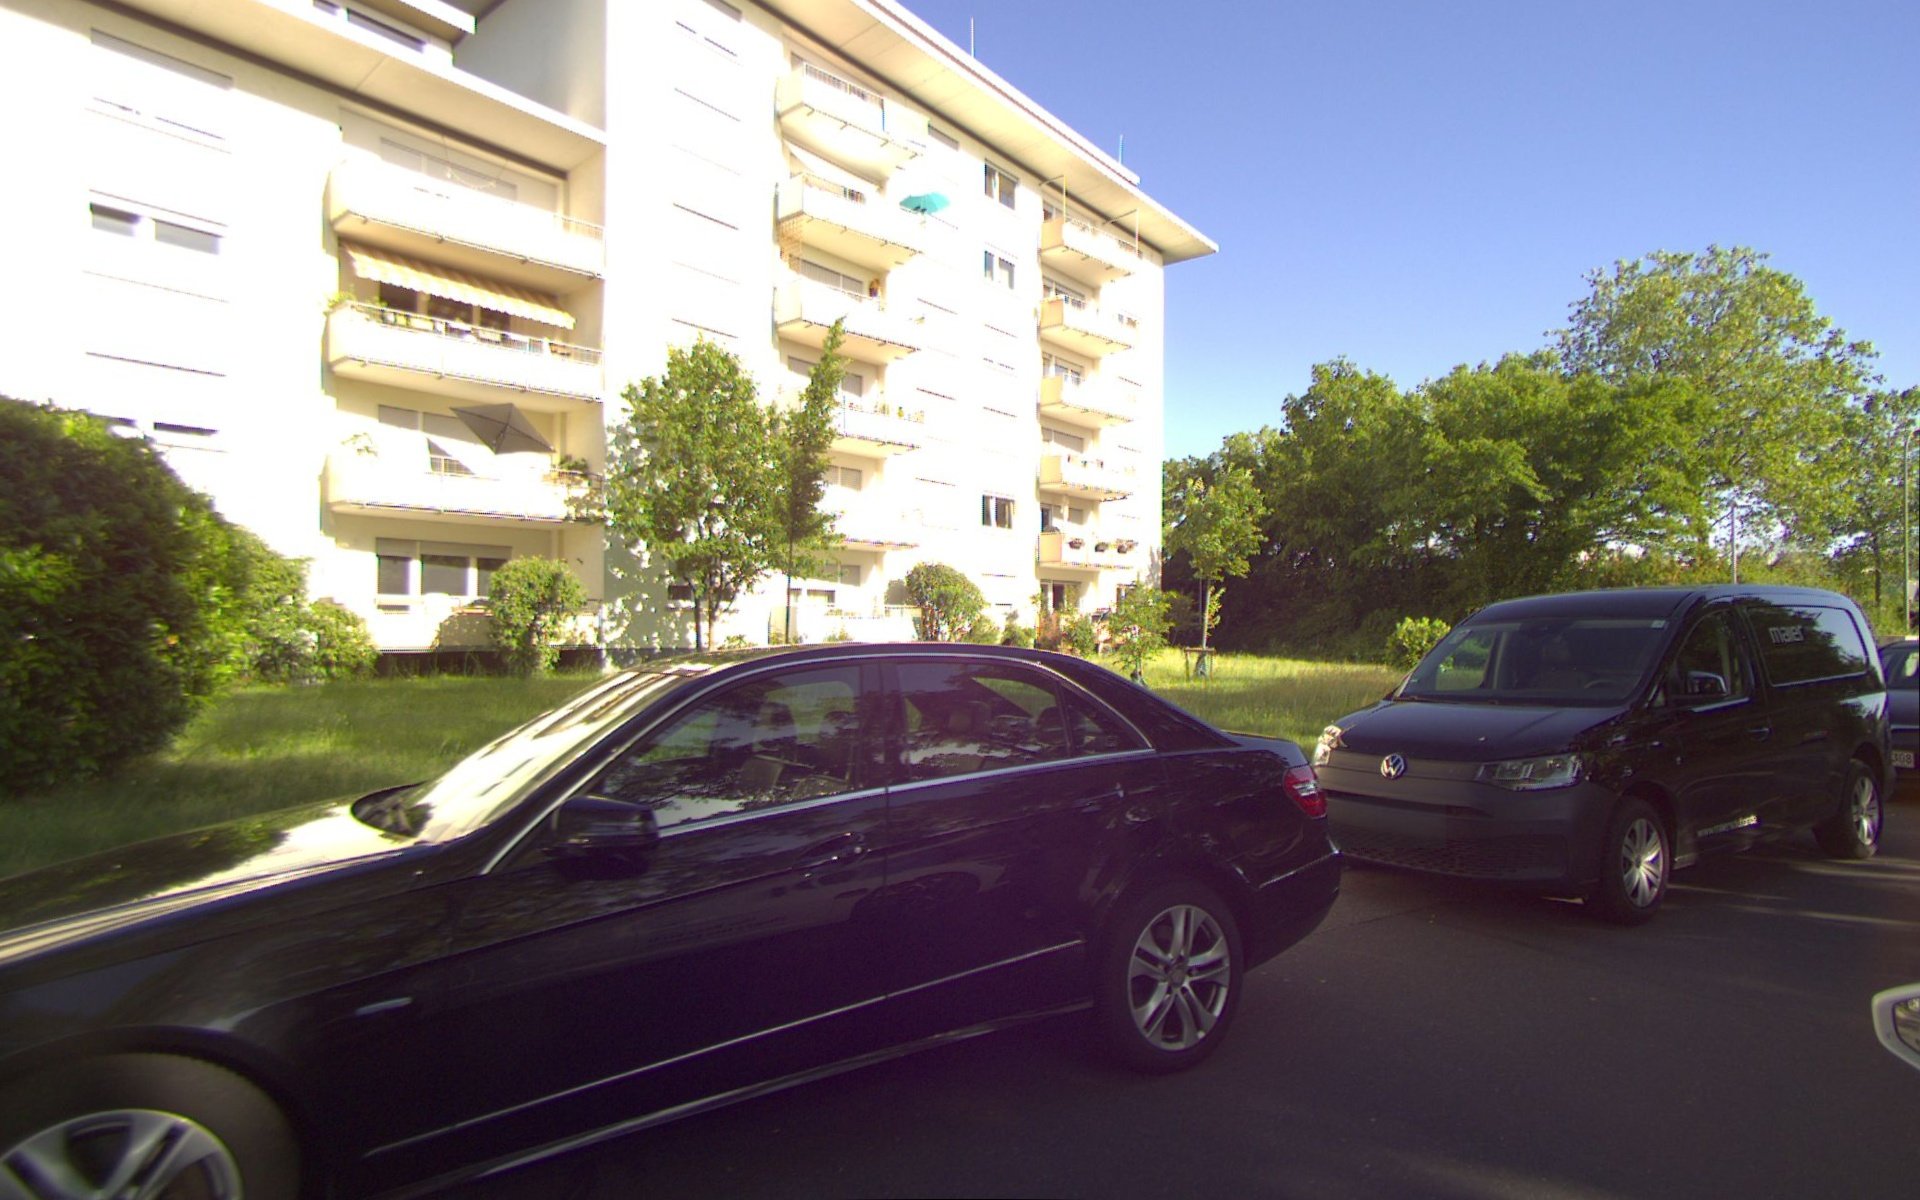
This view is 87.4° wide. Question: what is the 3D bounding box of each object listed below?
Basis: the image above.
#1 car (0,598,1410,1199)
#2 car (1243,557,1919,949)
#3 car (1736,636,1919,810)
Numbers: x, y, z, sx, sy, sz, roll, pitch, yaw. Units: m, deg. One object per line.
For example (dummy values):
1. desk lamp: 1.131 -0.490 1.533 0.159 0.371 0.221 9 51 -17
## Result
1. car: -0.631 0.854 3.592 4.523 1.500 1.831 2 -5 -32
2. car: 4.300 0.801 6.685 4.832 1.803 1.831 2 -3 -31
3. car: 9.698 1.089 9.851 3.968 1.473 1.833 1 -3 -29
